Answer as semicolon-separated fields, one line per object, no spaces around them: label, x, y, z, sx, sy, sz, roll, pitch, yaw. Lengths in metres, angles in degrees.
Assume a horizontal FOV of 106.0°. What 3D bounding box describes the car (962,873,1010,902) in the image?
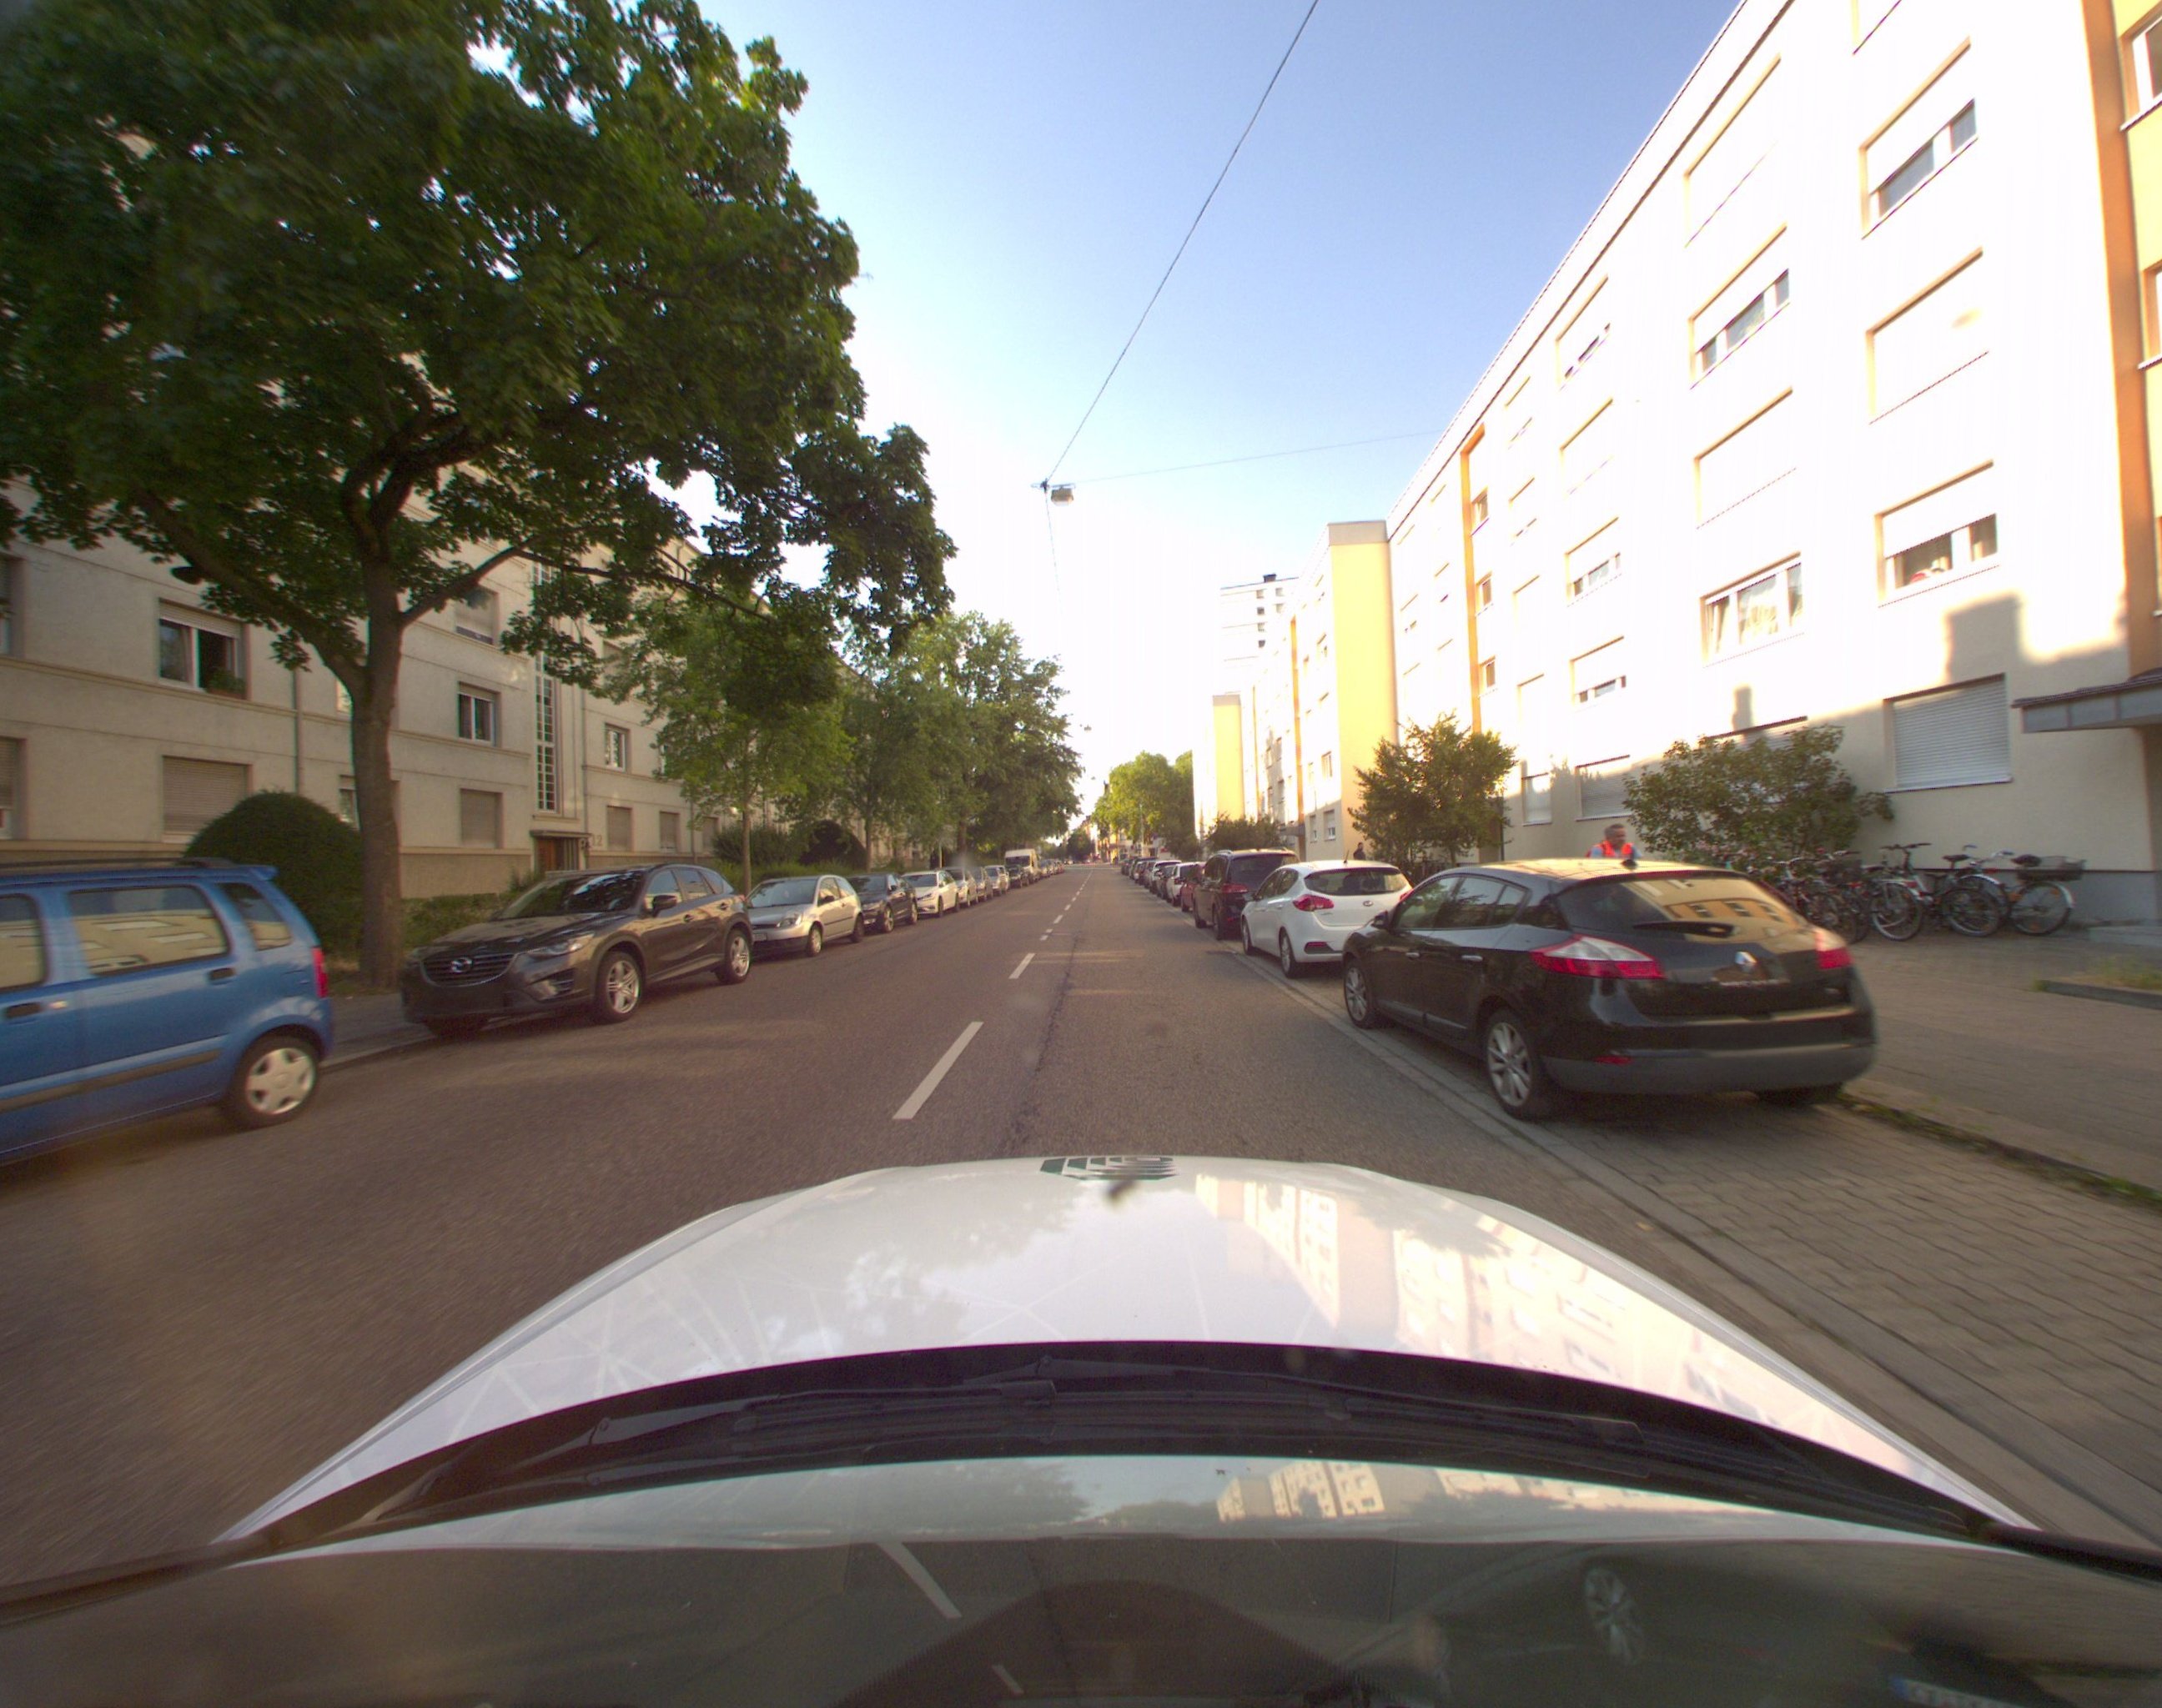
car;-4.673;1.630;40.758;1.867;1.355;4.652;0;-1;0

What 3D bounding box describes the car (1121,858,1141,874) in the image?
car;5.218;1.247;84.970;1.920;1.659;4.678;0;-1;1

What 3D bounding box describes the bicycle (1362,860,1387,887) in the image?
bicycle;10.520;0.710;29.228;0.435;0.942;1.794;0;-1;7

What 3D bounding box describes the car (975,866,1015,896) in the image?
car;-4.725;1.482;45.071;1.701;1.574;3.262;1;-1;2

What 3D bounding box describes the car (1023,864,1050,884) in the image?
car;-3.581;1.631;66.184;1.864;1.558;4.366;0;-1;1

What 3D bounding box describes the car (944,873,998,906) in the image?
car;-4.780;1.541;35.872;1.867;1.355;3.998;0;-1;0

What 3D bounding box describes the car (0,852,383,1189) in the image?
car;-5.938;0.816;3.802;1.867;1.552;3.998;-3;-1;0

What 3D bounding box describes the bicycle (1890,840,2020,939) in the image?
bicycle;11.139;0.440;10.428;0.332;1.192;1.241;0;-1;2

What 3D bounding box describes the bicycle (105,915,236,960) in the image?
bicycle;-16.958;1.534;15.231;0.407;0.709;1.788;0;-1;0

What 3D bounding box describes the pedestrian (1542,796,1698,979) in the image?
pedestrian;5.923;0.355;9.052;0.885;1.891;1.279;0;-1;1

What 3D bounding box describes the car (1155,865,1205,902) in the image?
car;4.063;1.216;34.047;1.655;1.438;4.313;0;-1;1

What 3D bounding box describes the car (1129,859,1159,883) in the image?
car;4.687;1.269;61.270;2.017;1.750;4.767;0;-1;1

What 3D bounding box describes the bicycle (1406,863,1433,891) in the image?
bicycle;12.074;0.815;29.077;0.435;0.942;1.794;0;-1;7

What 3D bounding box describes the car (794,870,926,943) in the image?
car;-5.308;1.205;20.249;1.868;1.434;4.802;-5;-1;0

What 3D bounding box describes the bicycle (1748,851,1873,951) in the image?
bicycle;9.354;0.580;10.494;0.333;1.192;1.238;-3;-1;-5

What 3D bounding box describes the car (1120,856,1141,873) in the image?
car;4.791;0.997;79.250;1.891;1.651;4.343;0;0;1

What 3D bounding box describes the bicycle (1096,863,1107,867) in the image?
bicycle;5.628;2.991;222.833;2.799;1.204;0.509;0;-2;-6

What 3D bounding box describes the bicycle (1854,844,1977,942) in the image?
bicycle;10.758;0.483;10.545;0.332;1.192;1.241;0;-1;2

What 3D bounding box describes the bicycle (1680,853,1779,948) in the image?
bicycle;8.558;0.593;10.792;0.332;1.192;1.241;0;-1;2

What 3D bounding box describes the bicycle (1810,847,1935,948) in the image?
bicycle;10.044;0.539;10.382;0.332;1.192;1.241;-3;-1;2

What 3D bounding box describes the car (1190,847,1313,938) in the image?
car;3.451;0.768;17.361;1.765;1.678;4.647;0;-1;1

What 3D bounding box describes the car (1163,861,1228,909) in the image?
car;3.988;1.064;28.922;1.765;1.454;4.001;-4;-1;1

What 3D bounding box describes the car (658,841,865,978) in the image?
car;-5.573;0.914;14.834;1.986;2.014;4.001;-4;-1;1

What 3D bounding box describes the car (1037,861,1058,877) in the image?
car;-3.452;1.579;85.510;1.909;1.677;4.974;0;-1;1

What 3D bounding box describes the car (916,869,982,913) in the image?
car;-4.986;1.367;31.198;1.867;1.552;3.998;0;-1;0

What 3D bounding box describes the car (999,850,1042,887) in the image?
car;-4.202;1.035;57.705;2.349;2.446;6.166;0;-1;2

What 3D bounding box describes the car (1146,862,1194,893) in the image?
car;4.232;1.118;39.366;1.867;1.443;3.998;0;-1;0

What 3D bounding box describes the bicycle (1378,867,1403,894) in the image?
bicycle;11.055;0.948;29.146;0.435;0.942;1.794;0;-1;7

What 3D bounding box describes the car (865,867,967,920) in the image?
car;-5.091;1.194;25.860;1.995;1.552;4.476;0;-1;4

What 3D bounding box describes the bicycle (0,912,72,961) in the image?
bicycle;-16.655;1.278;12.368;0.407;0.709;1.788;0;-1;0

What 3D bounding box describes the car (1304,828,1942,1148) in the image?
car;3.280;0.701;6.287;1.793;1.507;4.620;-2;-1;0

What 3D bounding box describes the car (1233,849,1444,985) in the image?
car;3.456;0.796;11.756;1.765;1.508;4.001;-4;-1;1

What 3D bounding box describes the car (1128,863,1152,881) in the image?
car;4.837;1.516;67.232;1.673;1.415;4.724;0;-1;1

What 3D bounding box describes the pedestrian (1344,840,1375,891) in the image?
pedestrian;9.566;0.398;28.017;0.763;1.658;0.536;-4;-2;1

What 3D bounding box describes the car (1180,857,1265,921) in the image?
car;3.845;0.935;22.691;1.765;1.617;4.001;0;-1;1

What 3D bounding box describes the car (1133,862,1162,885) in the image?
car;4.561;1.341;55.979;1.830;1.501;4.174;0;-1;3

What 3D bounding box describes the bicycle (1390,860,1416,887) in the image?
bicycle;11.516;0.709;29.171;0.435;0.942;1.794;0;-1;7

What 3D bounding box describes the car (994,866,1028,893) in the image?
car;-4.307;1.560;50.599;1.701;1.574;3.820;0;-1;2

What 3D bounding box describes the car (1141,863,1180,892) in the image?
car;4.474;1.334;46.408;1.955;1.605;4.280;0;-1;2

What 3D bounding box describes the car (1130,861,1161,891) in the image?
car;4.013;1.364;51.301;1.830;1.772;3.981;0;-1;3

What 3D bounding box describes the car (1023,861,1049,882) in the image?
car;-4.054;1.584;74.274;1.864;1.558;5.057;-6;0;1

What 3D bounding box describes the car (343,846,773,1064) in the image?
car;-5.438;0.924;9.432;1.868;1.759;4.688;-4;-1;0
